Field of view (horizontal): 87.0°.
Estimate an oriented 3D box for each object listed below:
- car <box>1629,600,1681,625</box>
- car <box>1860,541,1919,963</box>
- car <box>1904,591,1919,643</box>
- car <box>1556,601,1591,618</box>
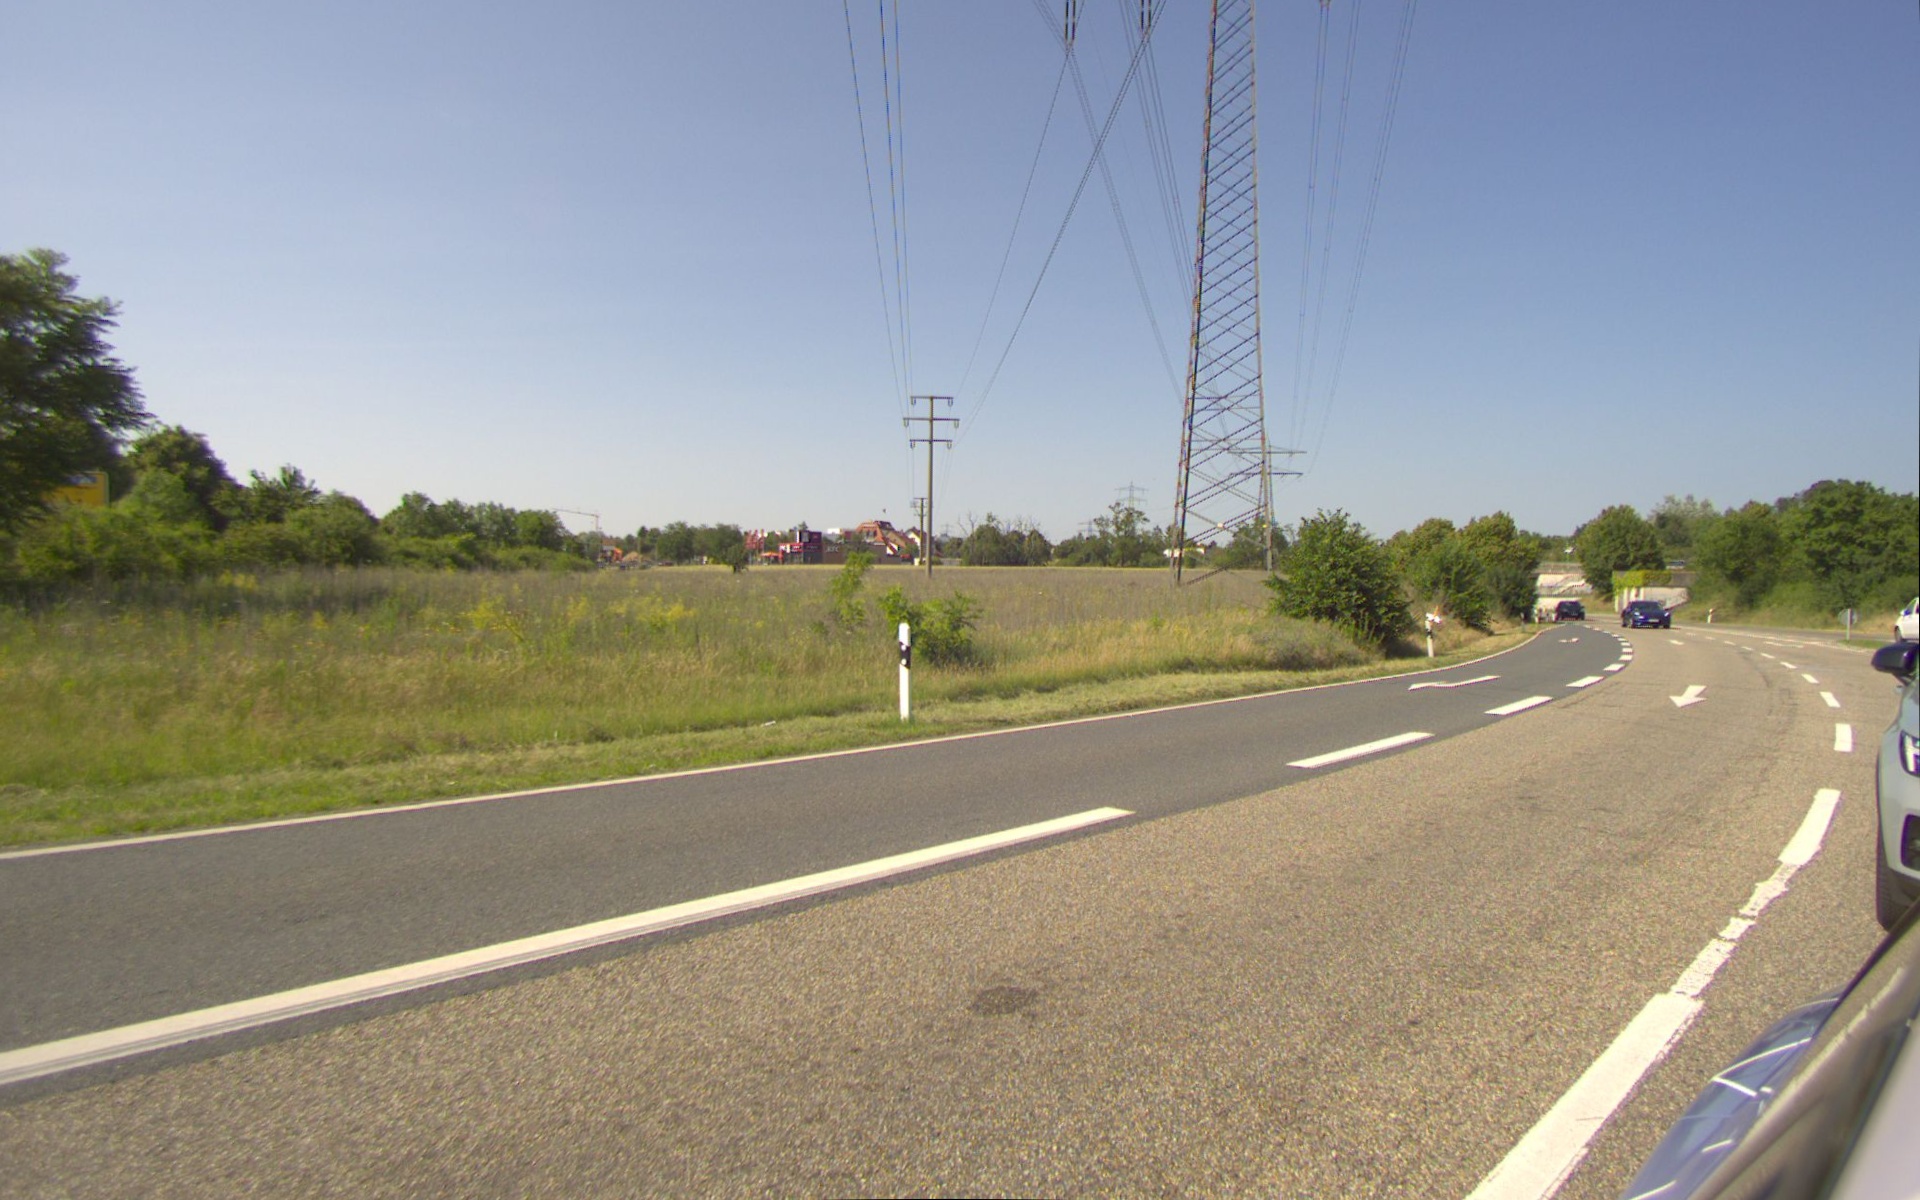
[{"bbox_3d":[40.829,0.712,59.527,1.878,1.369,3.505,-1,0,24],"label":"car"},{"bbox_3d":[5.575,0.605,4.540,3.583,1.640,1.858,0,0,-41],"label":"car"},{"bbox_3d":[36.620,0.657,36.892,1.981,1.942,4.899,0,0,28],"label":"car"},{"bbox_3d":[50.987,0.773,84.130,1.876,1.369,3.510,-1,0,21],"label":"car"}]
